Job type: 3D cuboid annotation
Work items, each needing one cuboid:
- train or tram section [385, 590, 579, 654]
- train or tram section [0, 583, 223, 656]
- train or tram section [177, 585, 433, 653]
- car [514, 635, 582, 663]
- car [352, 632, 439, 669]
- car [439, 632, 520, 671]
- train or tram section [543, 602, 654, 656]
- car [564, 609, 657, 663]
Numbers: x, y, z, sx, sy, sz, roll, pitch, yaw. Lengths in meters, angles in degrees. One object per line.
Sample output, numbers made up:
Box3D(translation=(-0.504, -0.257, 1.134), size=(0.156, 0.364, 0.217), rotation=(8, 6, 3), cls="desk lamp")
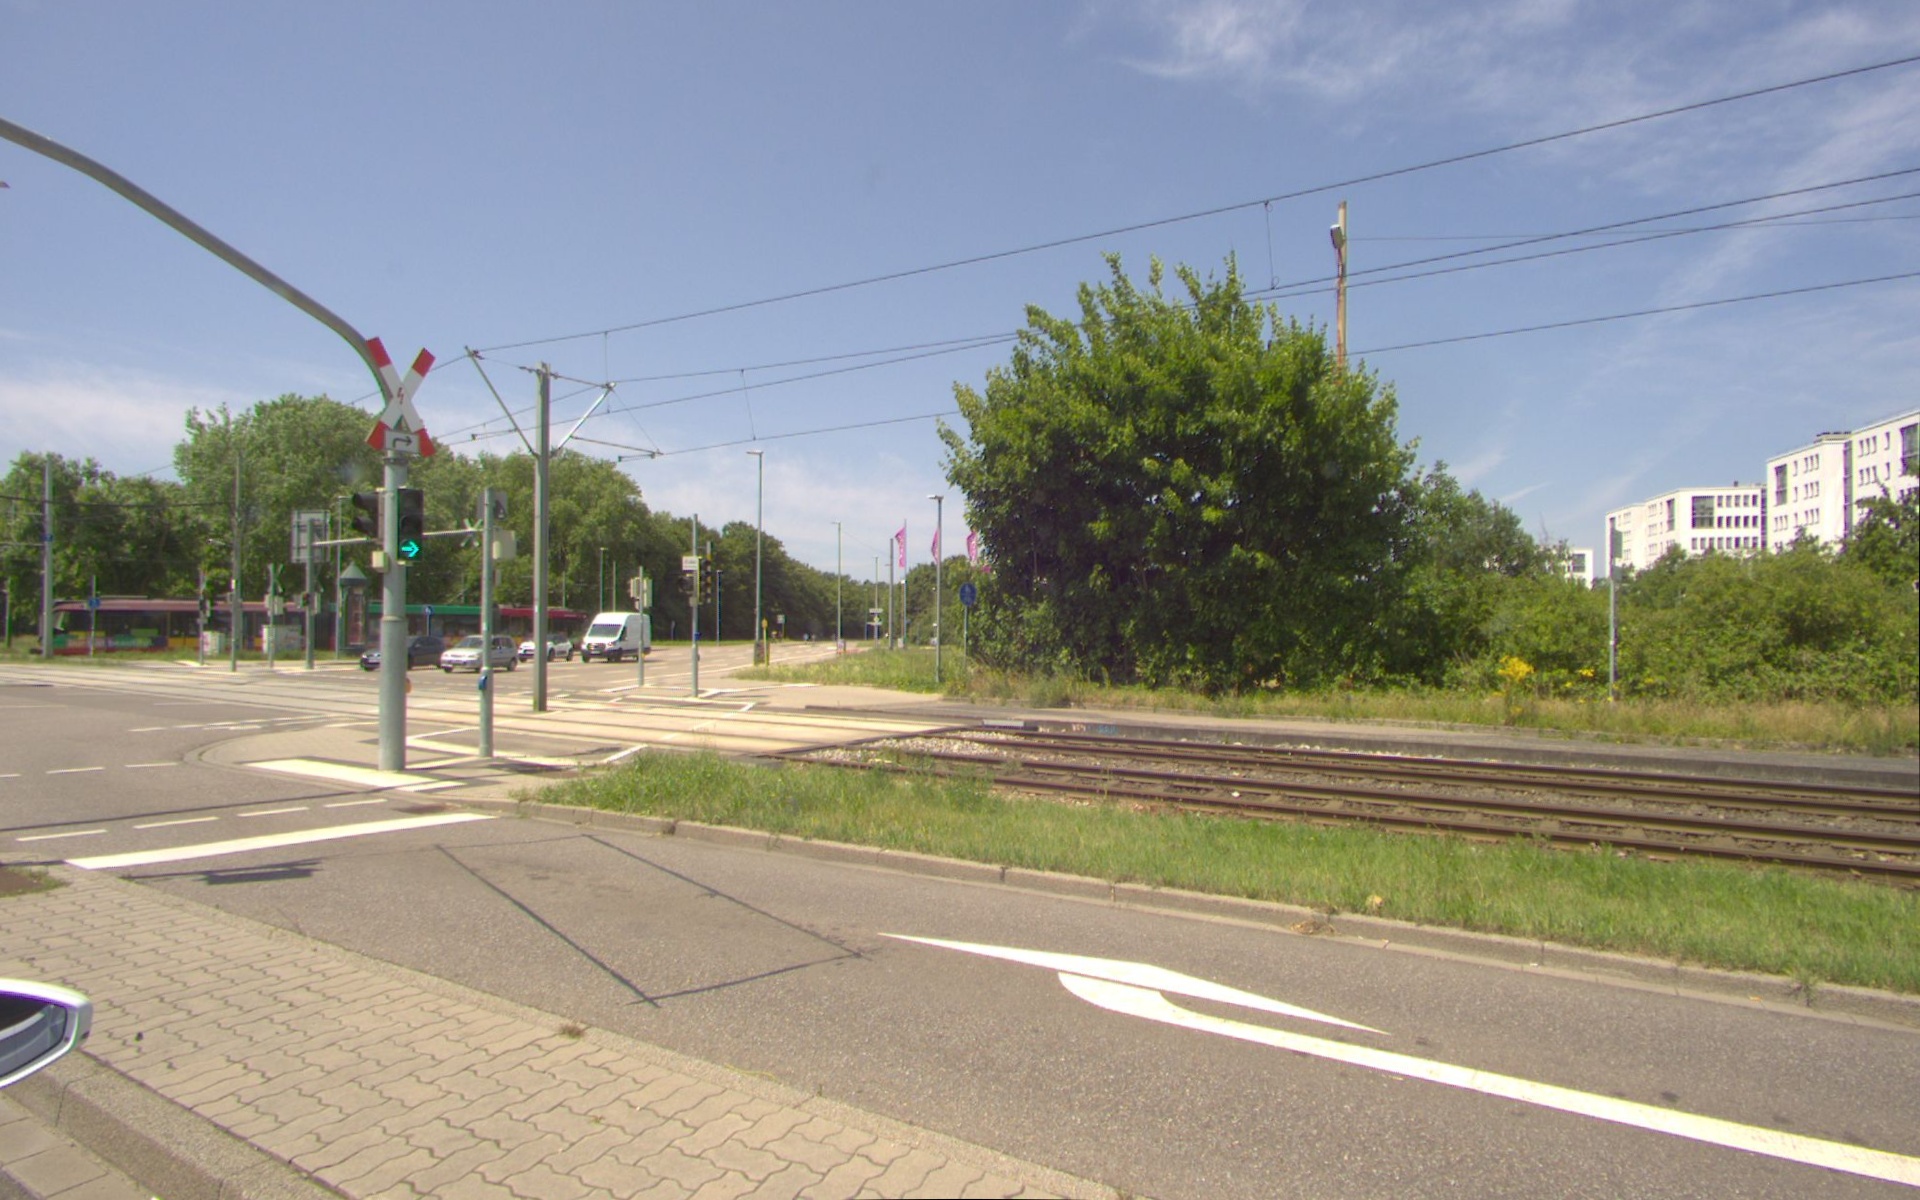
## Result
Box3D(translation=(-34.109, 1.808, 72.574), size=(2.878, 3.965, 14.006), rotation=(-3, -5, 25), cls="train or tram section")
Box3D(translation=(-50.437, 1.158, 57.359), size=(12.867, 3.857, 2.916), rotation=(0, -4, -25), cls="train or tram section")
Box3D(translation=(-40.921, 1.333, 63.218), size=(13.301, 3.857, 2.904), rotation=(2, -5, -38), cls="train or tram section")
Box3D(translation=(-22.476, 2.640, 54.816), size=(1.608, 1.481, 4.495), rotation=(0, -2, 4), cls="car")
Box3D(translation=(-23.297, 2.054, 41.464), size=(1.608, 1.481, 3.510), rotation=(0, -2, 0), cls="car")
Box3D(translation=(-19.580, 2.065, 40.928), size=(1.608, 1.481, 3.807), rotation=(0, -2, -3), cls="car")
Box3D(translation=(-30.547, 2.678, 85.571), size=(2.867, 3.965, 13.978), rotation=(-2, -4, 7), cls="train or tram section")
Box3D(translation=(-19.608, 2.017, 56.702), size=(2.664, 2.838, 7.287), rotation=(0, -2, 0), cls="car")
